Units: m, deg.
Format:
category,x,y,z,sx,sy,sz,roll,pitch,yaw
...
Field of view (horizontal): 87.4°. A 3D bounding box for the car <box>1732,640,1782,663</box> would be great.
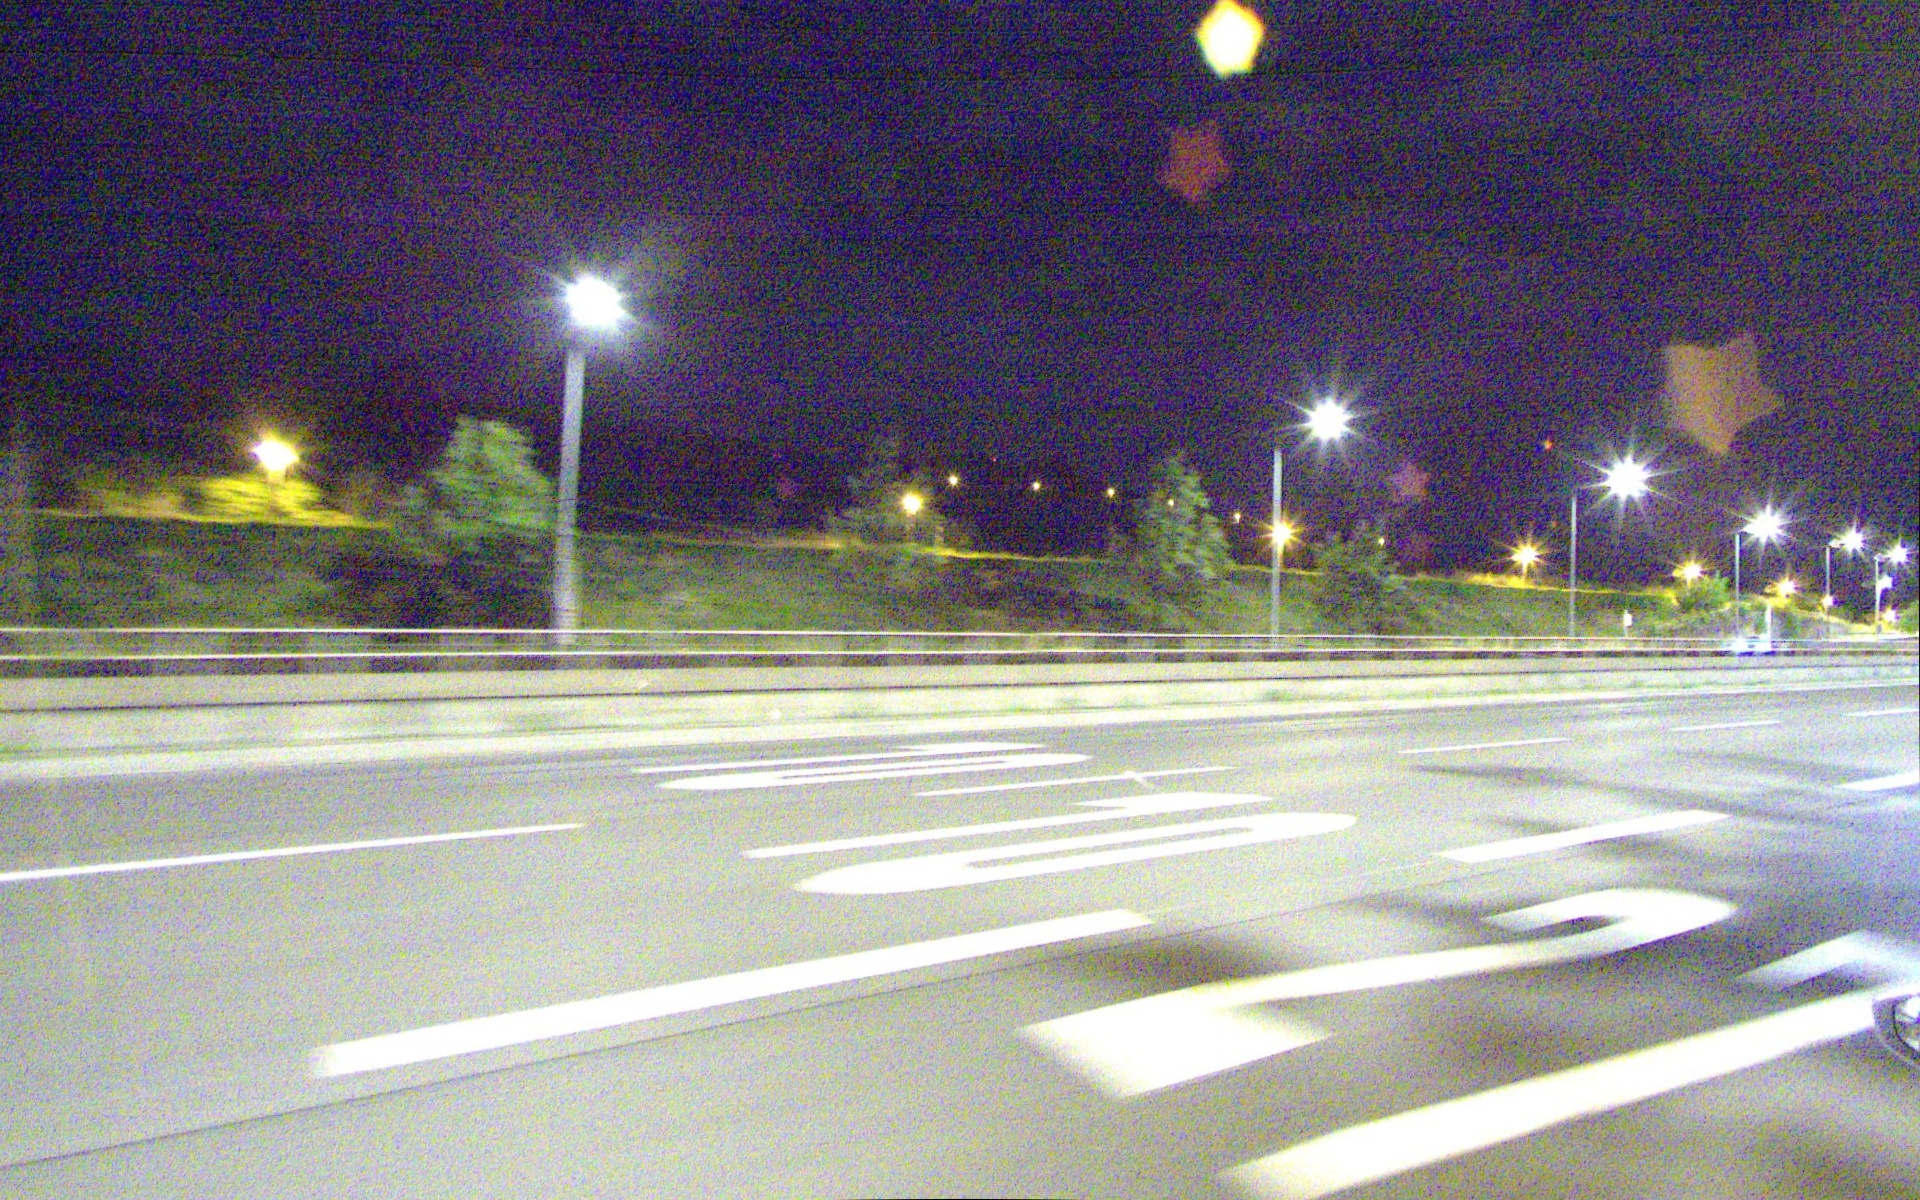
category,x,y,z,sx,sy,sz,roll,pitch,yaw
car,57.872,3.766,72.913,3.636,1.500,1.618,3,-1,-30
